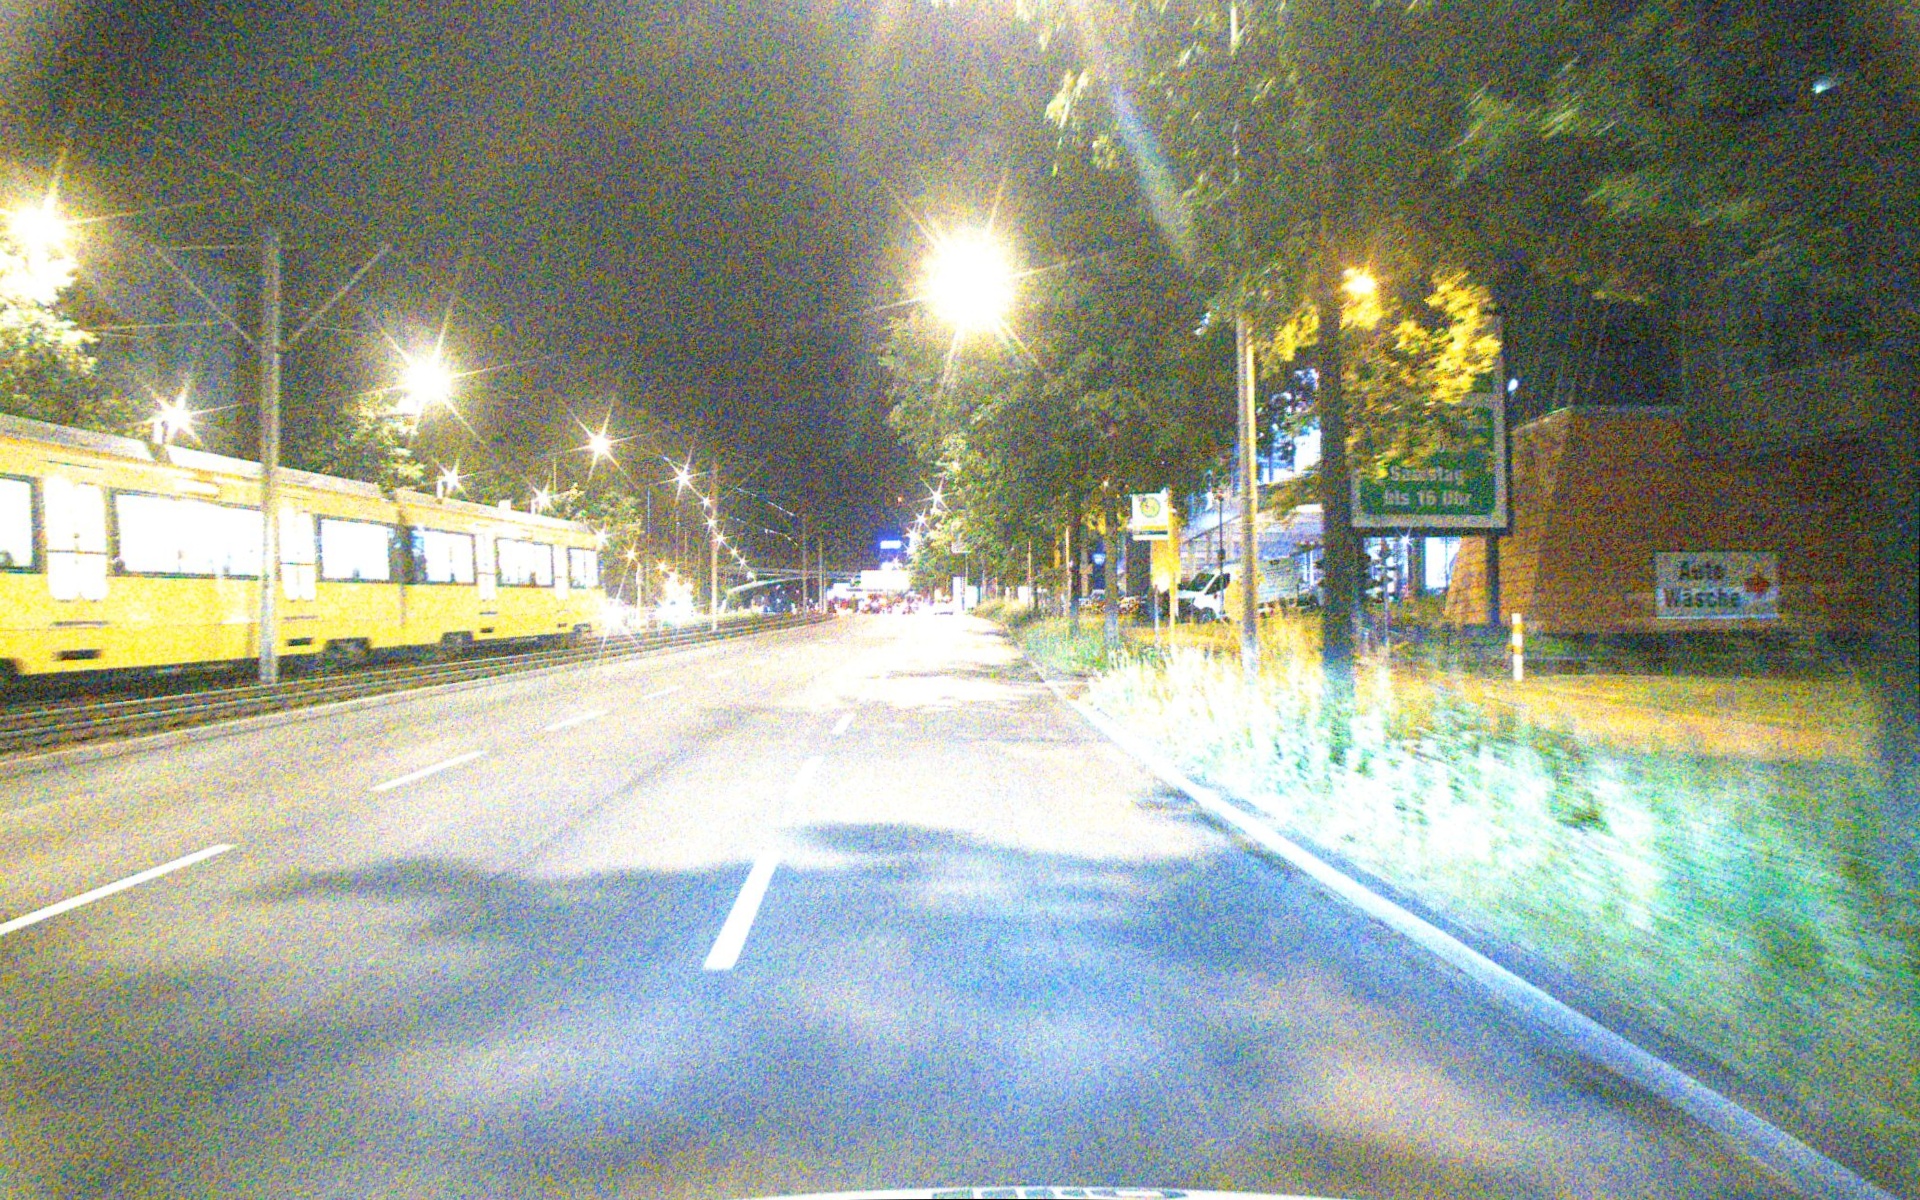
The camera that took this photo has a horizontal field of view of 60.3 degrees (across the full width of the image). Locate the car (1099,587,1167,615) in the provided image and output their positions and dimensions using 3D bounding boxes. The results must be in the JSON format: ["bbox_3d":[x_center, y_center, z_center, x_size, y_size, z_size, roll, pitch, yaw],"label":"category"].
[{"bbox_3d":[10.441,0.036,99.897,3.739,1.478,1.711,-3,1,-15],"label":"car"}]

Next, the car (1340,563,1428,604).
[{"bbox_3d":[19.029,-0.720,74.385,1.770,1.604,3.940,-6,1,-23],"label":"car"}]

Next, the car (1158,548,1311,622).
[{"bbox_3d":[11.731,-0.627,70.640,5.925,2.572,2.272,-6,1,-18],"label":"car"}]

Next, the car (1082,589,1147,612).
[{"bbox_3d":[10.306,0.016,110.568,3.934,1.416,1.813,-2,1,-23],"label":"car"}]

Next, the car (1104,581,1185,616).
[{"bbox_3d":[10.204,-0.073,91.405,4.009,1.595,1.849,-5,1,-12],"label":"car"}]

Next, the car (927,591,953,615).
[{"bbox_3d":[-1.848,0.314,151.646,2.378,2.150,4.824,0,-1,-1],"label":"car"}]

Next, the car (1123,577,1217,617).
[{"bbox_3d":[10.840,-0.176,85.563,4.382,1.841,1.994,-3,0,-12],"label":"car"}]

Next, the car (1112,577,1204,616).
[{"bbox_3d":[10.581,-0.183,88.357,4.383,1.716,1.994,-5,1,-12],"label":"car"}]

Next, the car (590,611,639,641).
[{"bbox_3d":[-17.927,1.354,85.916,1.748,1.523,4.173,0,-1,-1],"label":"car"}]

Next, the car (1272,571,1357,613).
[{"bbox_3d":[15.671,-0.322,73.298,1.781,1.742,3.940,-1,-1,-23],"label":"car"}]

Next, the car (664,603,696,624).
[{"bbox_3d":[-20.977,0.995,124.051,1.626,1.543,3.911,0,-1,1],"label":"car"}]

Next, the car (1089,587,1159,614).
[{"bbox_3d":[10.427,0.025,105.138,3.960,1.397,1.817,-4,1,-17],"label":"car"}]

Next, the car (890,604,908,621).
[{"bbox_3d":[-6.699,1.348,182.288,1.848,1.892,3.999,0,-1,-1],"label":"car"}]

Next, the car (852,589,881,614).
[{"bbox_3d":[-7.680,0.148,136.727,2.217,2.049,4.824,0,-1,-1],"label":"car"}]

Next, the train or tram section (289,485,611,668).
[{"bbox_3d":[-12.844,-0.500,44.621,2.702,3.894,18.671,0,0,1],"label":"train or tram section"}]

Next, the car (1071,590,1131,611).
[{"bbox_3d":[10.107,0.008,118.703,3.926,1.448,1.899,0,1,-19],"label":"car"}]

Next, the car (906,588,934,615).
[{"bbox_3d":[-3.367,0.150,139.828,2.308,2.166,4.824,0,-1,-1],"label":"car"}]

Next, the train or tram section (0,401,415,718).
[{"bbox_3d":[-13.133,-0.501,25.580,2.682,3.913,19.365,0,0,1],"label":"train or tram section"}]

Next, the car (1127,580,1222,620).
[{"bbox_3d":[10.408,-0.006,80.527,4.128,1.692,1.955,-3,0,-12],"label":"car"}]
